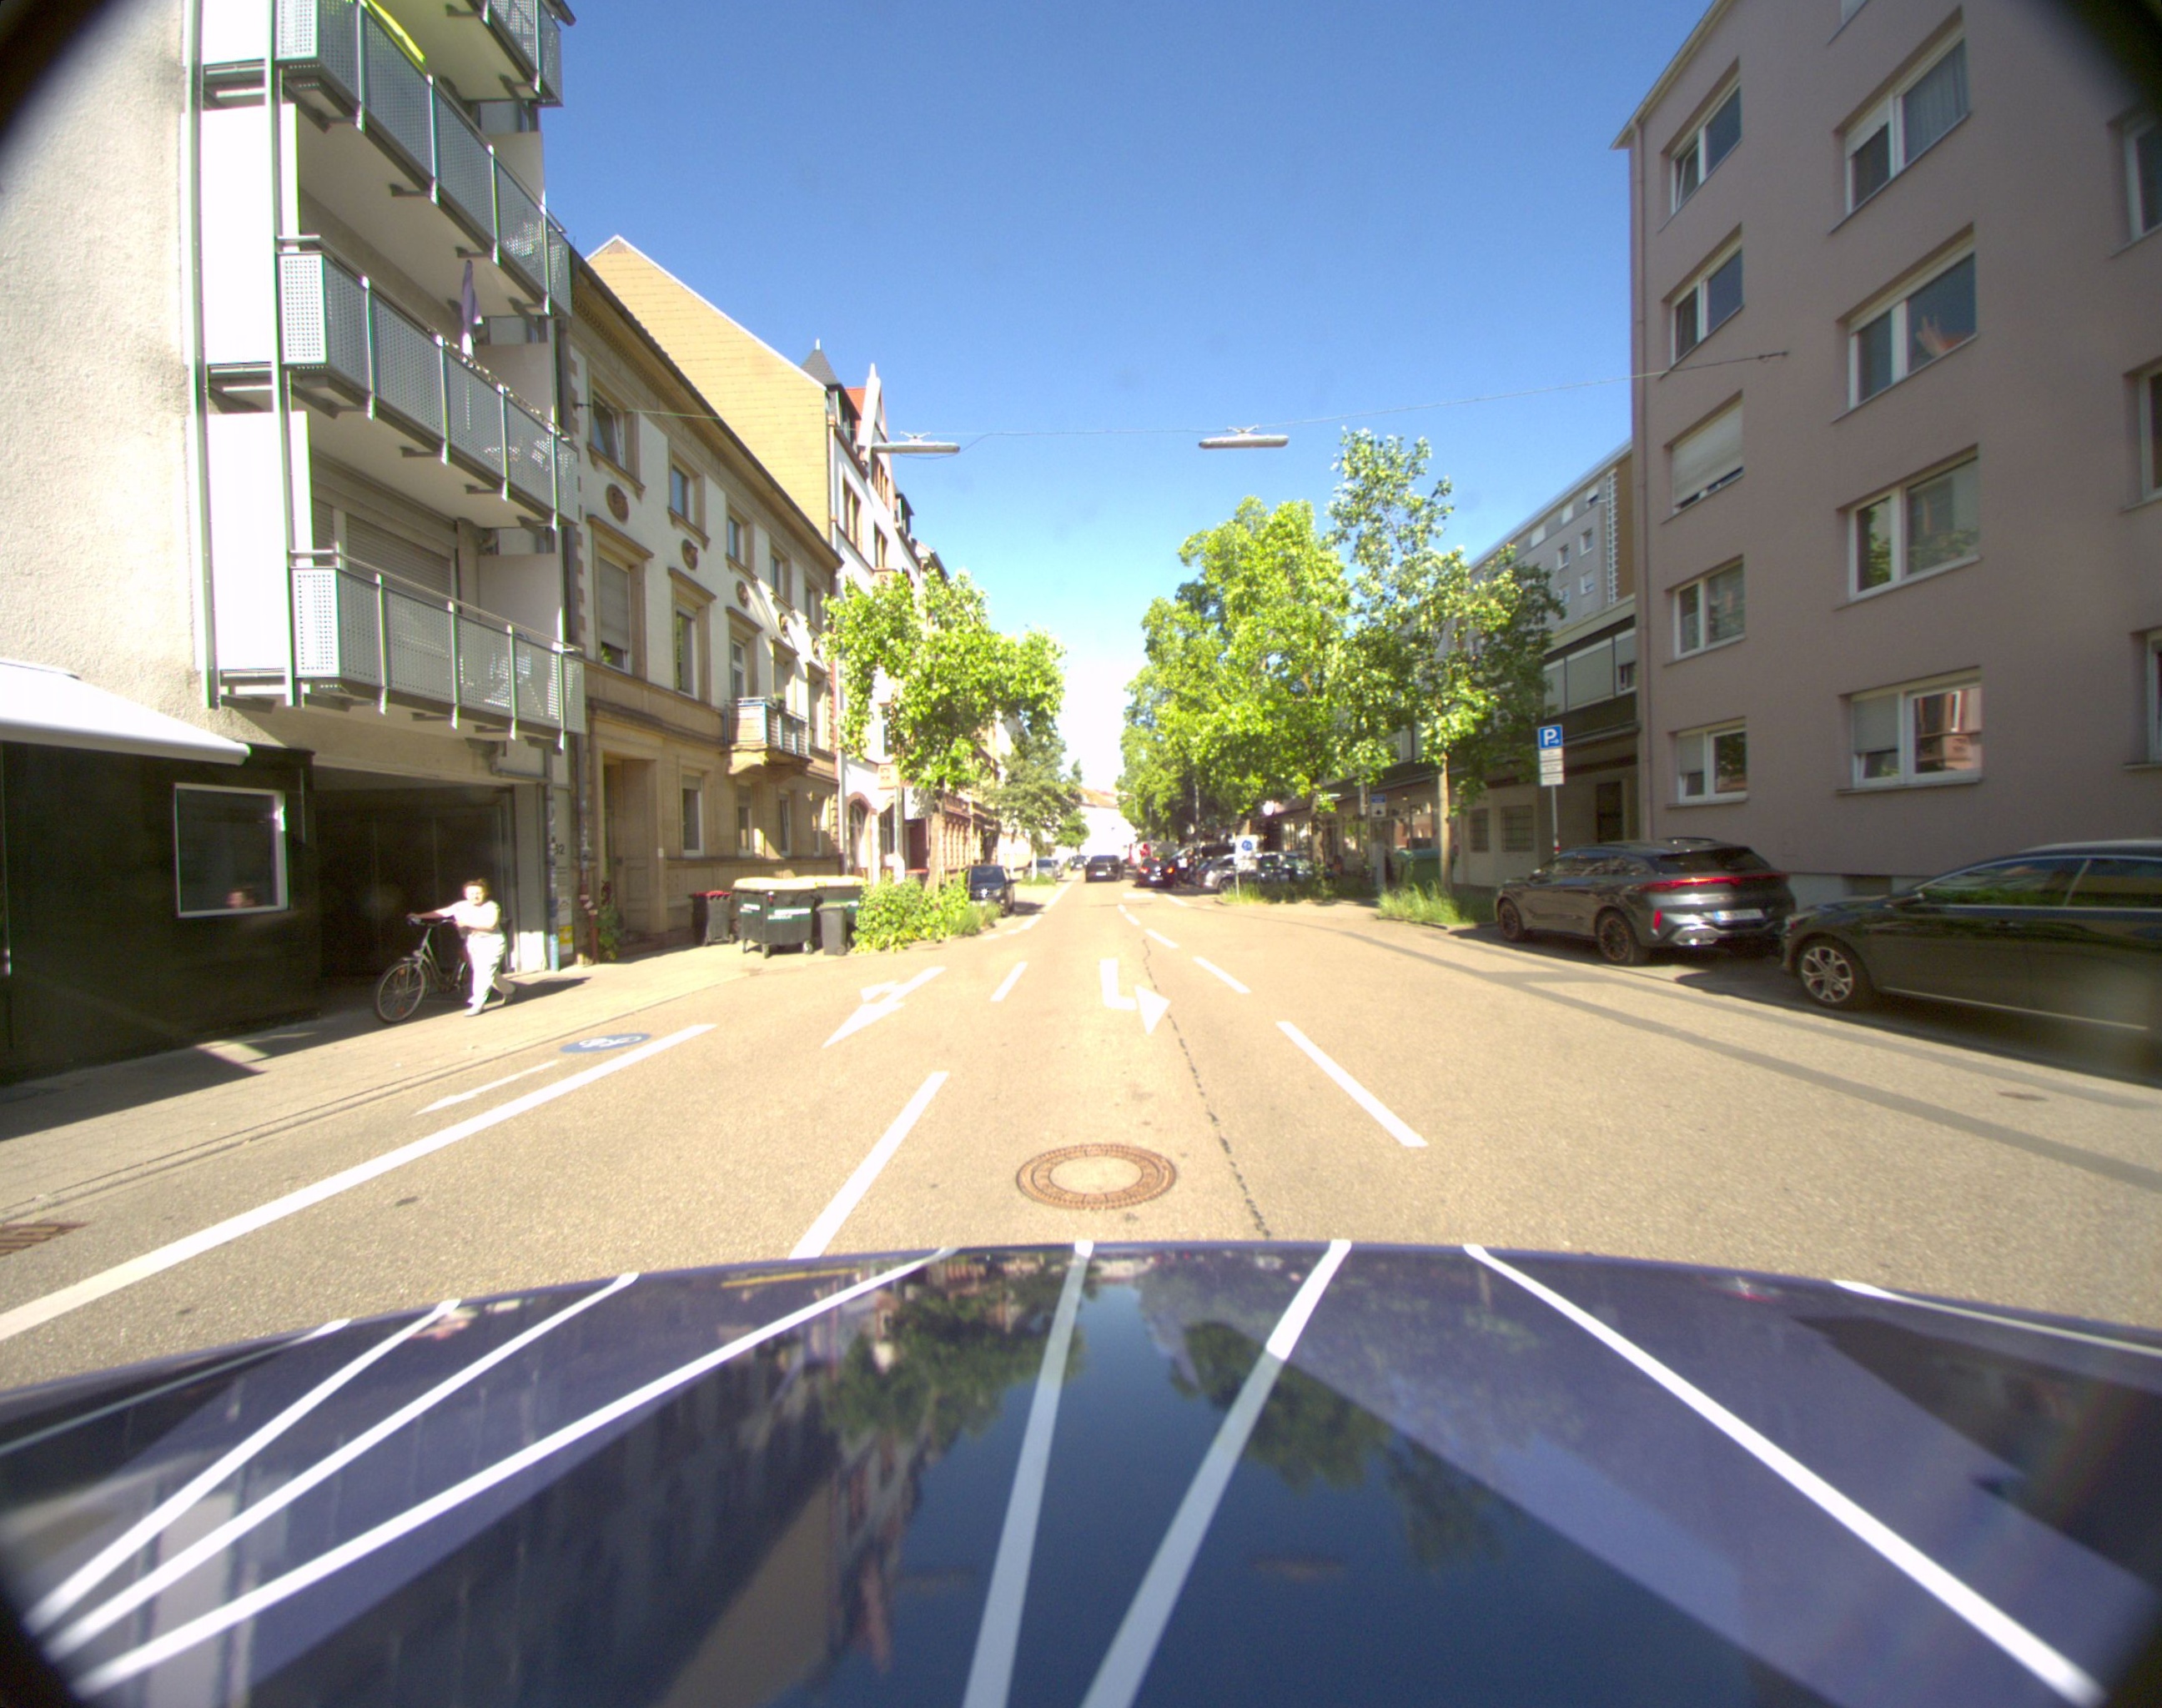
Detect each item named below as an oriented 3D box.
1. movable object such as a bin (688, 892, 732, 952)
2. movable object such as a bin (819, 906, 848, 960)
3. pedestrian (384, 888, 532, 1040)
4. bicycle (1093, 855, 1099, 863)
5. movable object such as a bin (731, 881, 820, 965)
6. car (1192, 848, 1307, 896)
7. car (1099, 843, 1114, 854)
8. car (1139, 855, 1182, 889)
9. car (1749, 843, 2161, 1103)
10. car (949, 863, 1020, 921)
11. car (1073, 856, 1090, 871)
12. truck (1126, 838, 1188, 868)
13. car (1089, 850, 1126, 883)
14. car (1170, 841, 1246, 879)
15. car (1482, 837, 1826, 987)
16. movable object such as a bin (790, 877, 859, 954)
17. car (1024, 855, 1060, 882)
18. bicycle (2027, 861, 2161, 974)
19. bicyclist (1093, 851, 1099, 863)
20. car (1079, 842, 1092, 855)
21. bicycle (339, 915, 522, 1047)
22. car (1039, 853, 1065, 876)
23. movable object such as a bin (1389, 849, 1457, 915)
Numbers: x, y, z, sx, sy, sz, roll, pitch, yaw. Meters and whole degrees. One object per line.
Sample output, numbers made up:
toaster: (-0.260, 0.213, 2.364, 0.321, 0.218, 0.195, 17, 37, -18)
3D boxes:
movable object such as a bin: (-7.159, 1.295, 14.651, 0.615, 1.075, 0.568, 2, 3, 43)
movable object such as a bin: (-4.430, 1.406, 13.616, 0.401, 0.916, 0.484, 0, 2, -7)
pedestrian: (-6.876, 1.173, 8.436, 0.825, 1.529, 0.947, 2, 1, 1)
bicycle: (2.170, 0.682, 108.059, 0.778, 1.139, 2.259, -3, 1, 1)
movable object such as a bin: (-5.441, 1.182, 13.516, 1.212, 1.318, 1.052, 2, 3, 43)
car: (6.414, 0.673, 29.275, 3.996, 1.665, 2.000, -2, 0, 2)
car: (5.070, -1.083, 150.311, 1.996, 2.002, 4.005, -1, 0, 18)
car: (3.758, 0.809, 36.469, 1.867, 1.455, 4.001, -2, 0, 3)
car: (7.572, 0.722, 5.495, 1.821, 1.499, 4.246, -4, 0, 3)
car: (-2.725, 1.043, 22.074, 1.551, 1.483, 3.351, -2, 0, 1)
car: (0.064, 0.954, 76.582, 1.653, 1.447, 3.290, -2, 0, 1)
truck: (7.043, -0.130, 70.383, 5.321, 2.581, 1.998, -2, 1, -9)
car: (1.536, 0.692, 44.251, 1.994, 1.599, 4.260, -3, 3, 2)
car: (7.192, 0.315, 43.376, 3.996, 2.020, 2.000, -2, 1, 2)
car: (7.707, 0.666, 10.846, 1.821, 1.583, 4.141, -5, 0, 3)
movable object such as a bin: (-4.926, 1.146, 14.587, 0.960, 1.341, 1.066, -1, 2, -37)
car: (-2.245, 0.817, 44.594, 1.759, 1.492, 3.949, -2, 0, 1)
bicycle: (10.842, 0.633, 7.707, 0.391, 1.070, 1.650, -6, 0, 2)
bicyclist: (2.153, 0.458, 108.058, 0.748, 1.588, 0.613, -3, 1, 1)
car: (0.823, -0.853, 125.286, 1.998, 2.002, 4.000, -2, 0, 2)
bicycle: (-6.999, 1.310, 8.296, 0.402, 1.126, 1.792, 2, 1, 2)
car: (-2.027, 0.714, 53.908, 1.653, 1.483, 3.290, -2, 0, 1)
movable object such as a bin: (8.339, 0.663, 18.576, 1.246, 1.536, 1.019, -2, 1, 6)
